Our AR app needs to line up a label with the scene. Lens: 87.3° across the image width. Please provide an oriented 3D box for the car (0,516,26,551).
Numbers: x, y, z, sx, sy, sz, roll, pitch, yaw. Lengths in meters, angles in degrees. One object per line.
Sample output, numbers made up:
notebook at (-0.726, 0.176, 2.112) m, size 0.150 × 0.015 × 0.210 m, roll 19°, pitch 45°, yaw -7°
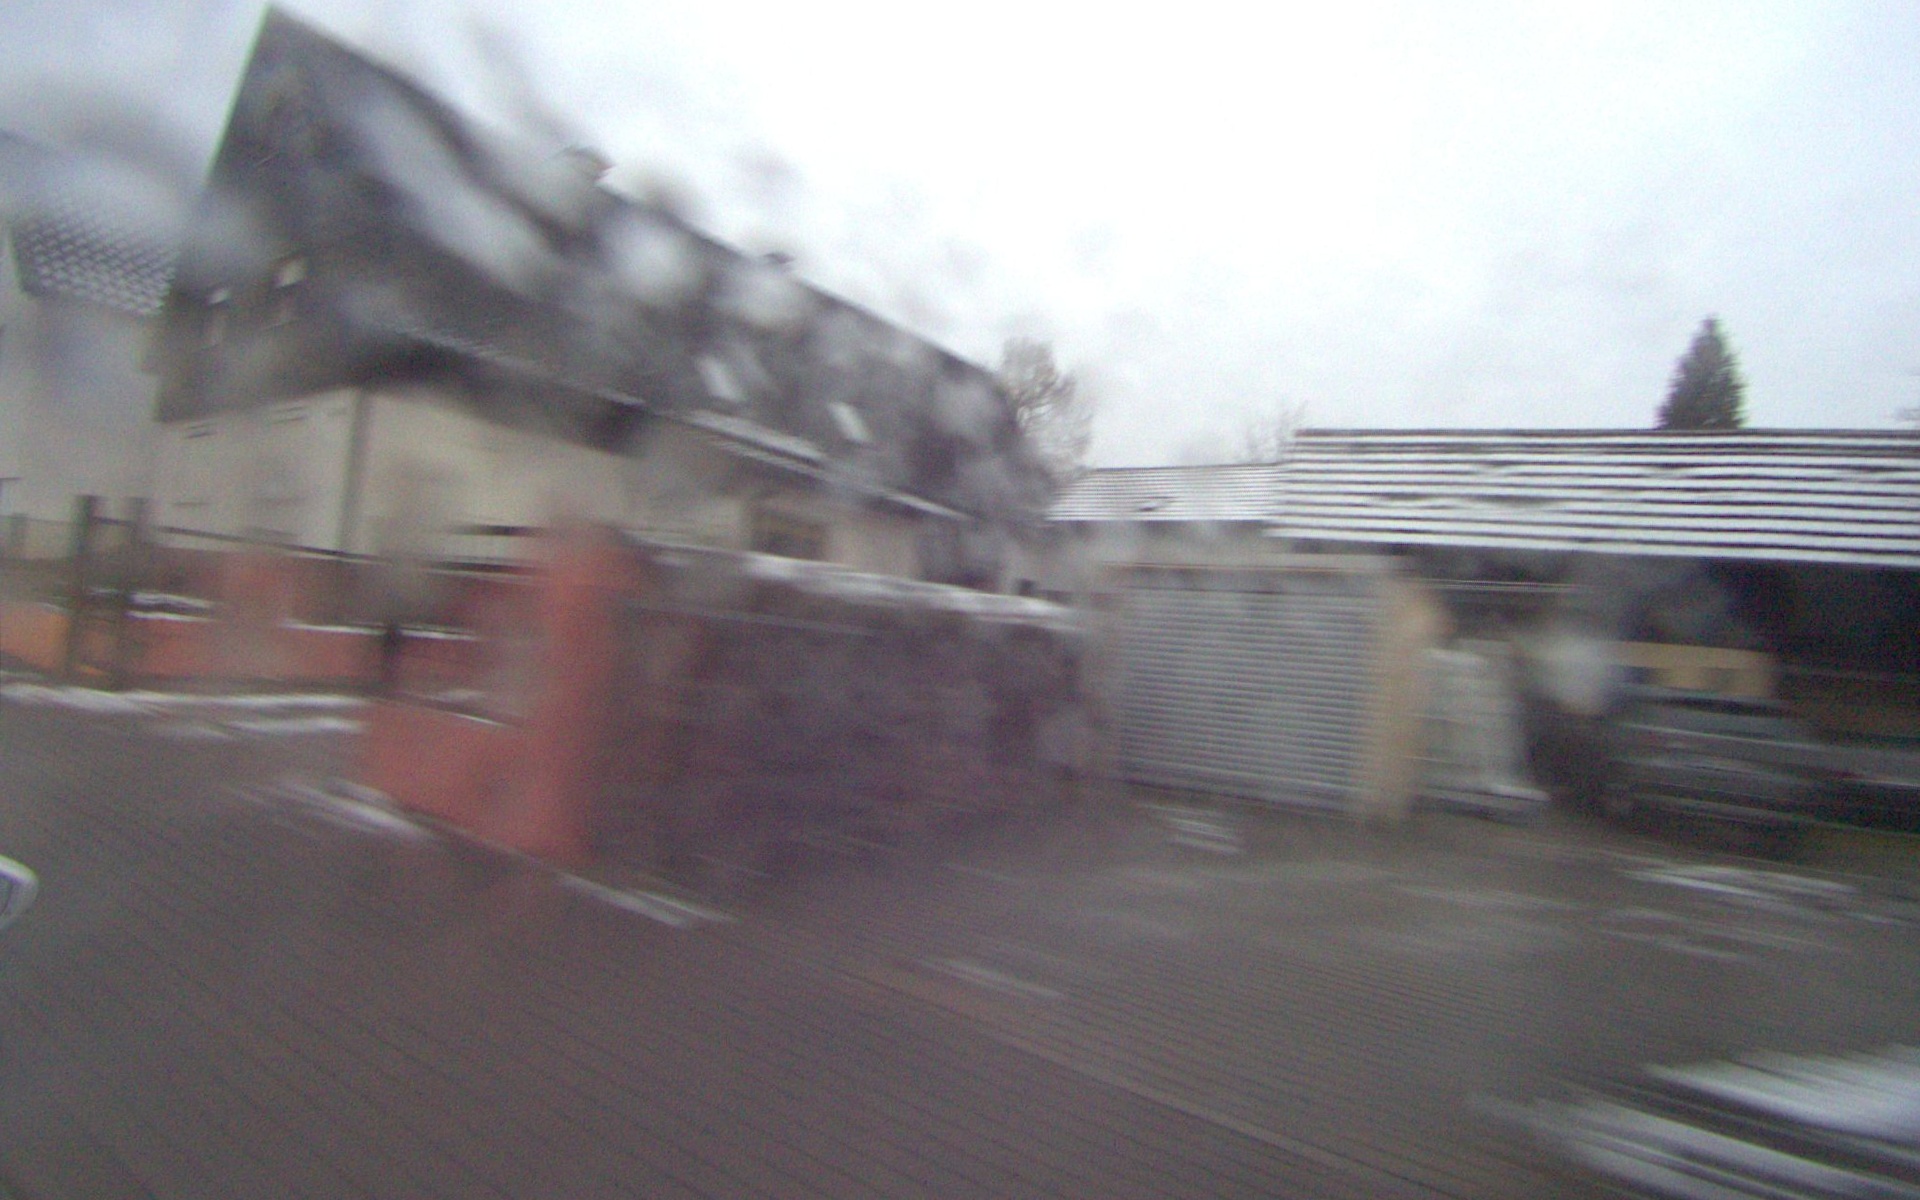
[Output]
car at (-44.238, -3.186, 44.269) m, size 4.490 × 1.461 × 1.976 m, roll 7°, pitch -1°, yaw -43°

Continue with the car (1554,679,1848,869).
car at (8.537, 1.875, 12.039) m, size 1.965 × 1.611 × 3.998 m, roll 6°, pitch -1°, yaw 26°

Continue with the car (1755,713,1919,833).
car at (13.832, 2.587, 15.302) m, size 1.748 × 1.398 × 3.998 m, roll 6°, pitch -1°, yaw 26°

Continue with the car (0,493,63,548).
car at (-27.311, -2.202, 27.226) m, size 1.753 × 1.478 × 4.266 m, roll 5°, pitch 5°, yaw 38°
